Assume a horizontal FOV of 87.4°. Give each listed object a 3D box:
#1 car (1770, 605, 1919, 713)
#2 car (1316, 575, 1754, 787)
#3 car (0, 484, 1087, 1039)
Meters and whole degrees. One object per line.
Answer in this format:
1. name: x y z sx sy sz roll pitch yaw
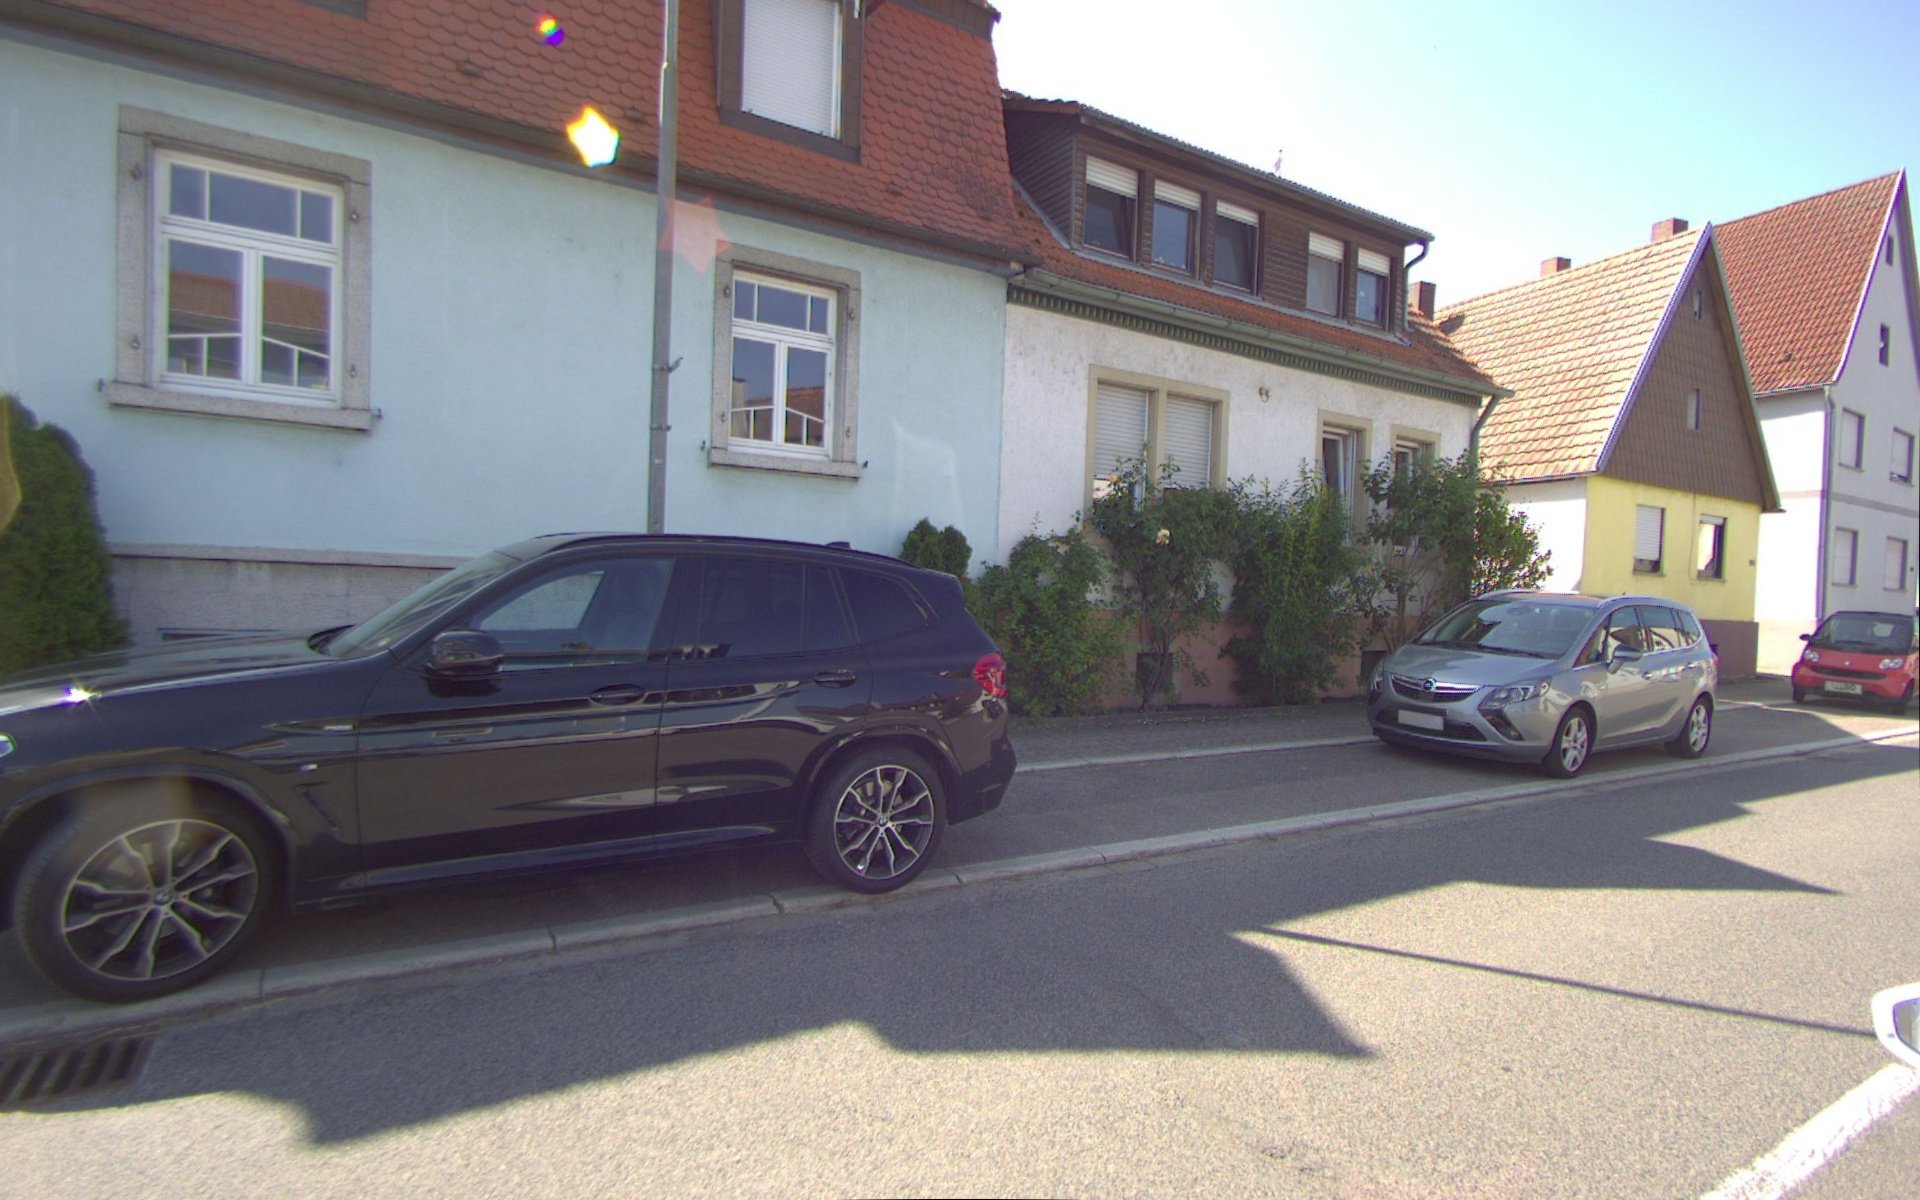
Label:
1. car: 15.033 0.939 16.685 2.955 1.565 1.543 2 2 -33
2. car: 5.879 0.690 10.103 4.614 1.658 1.862 2 2 -33
3. car: -1.806 0.484 4.890 4.616 1.690 1.908 2 3 -34
